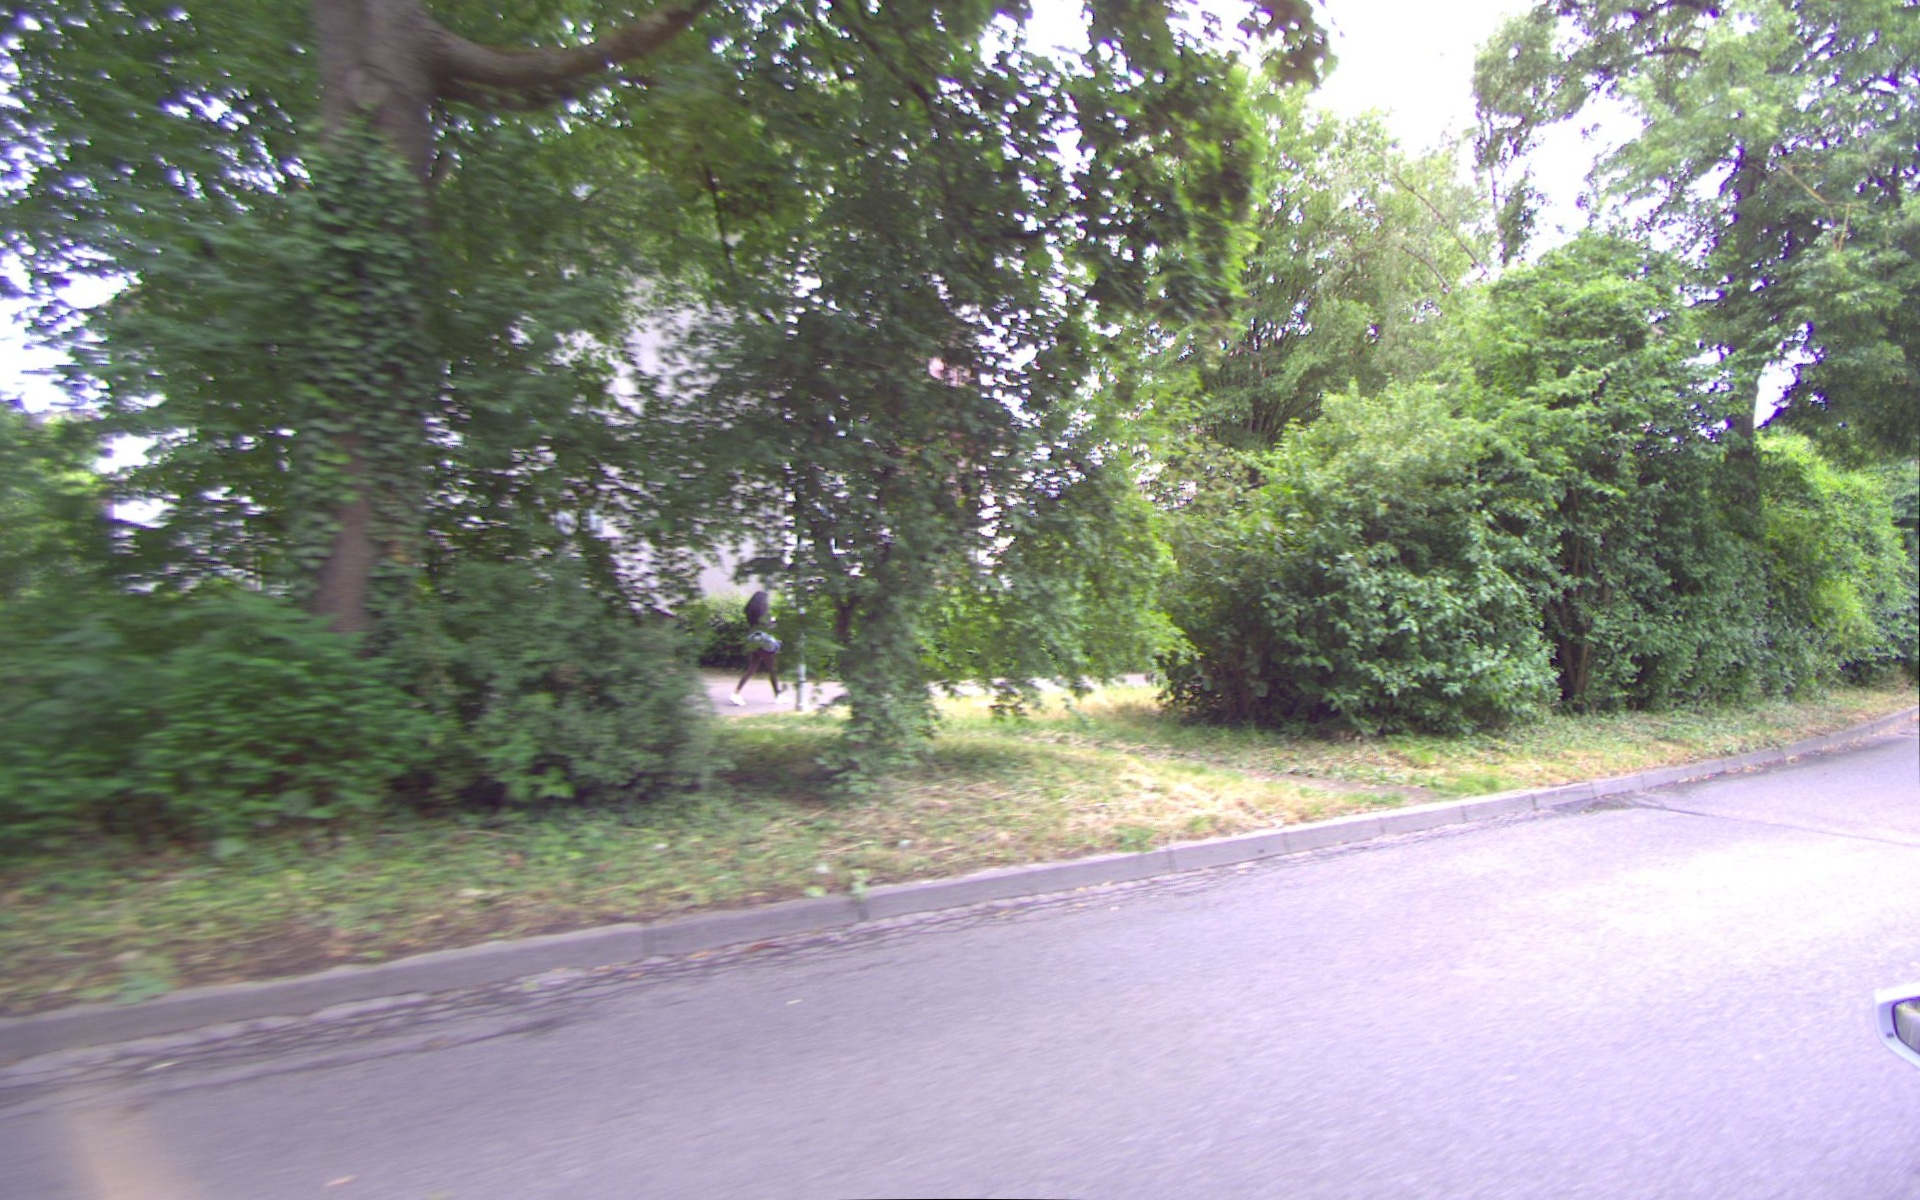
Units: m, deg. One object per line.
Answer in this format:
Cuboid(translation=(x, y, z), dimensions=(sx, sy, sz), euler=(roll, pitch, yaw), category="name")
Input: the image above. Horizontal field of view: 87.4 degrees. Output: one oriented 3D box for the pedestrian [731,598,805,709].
Cuboid(translation=(-2.773, 0.751, 14.478), dimensions=(0.862, 1.521, 0.605), euler=(0, 4, -30), category="pedestrian")
